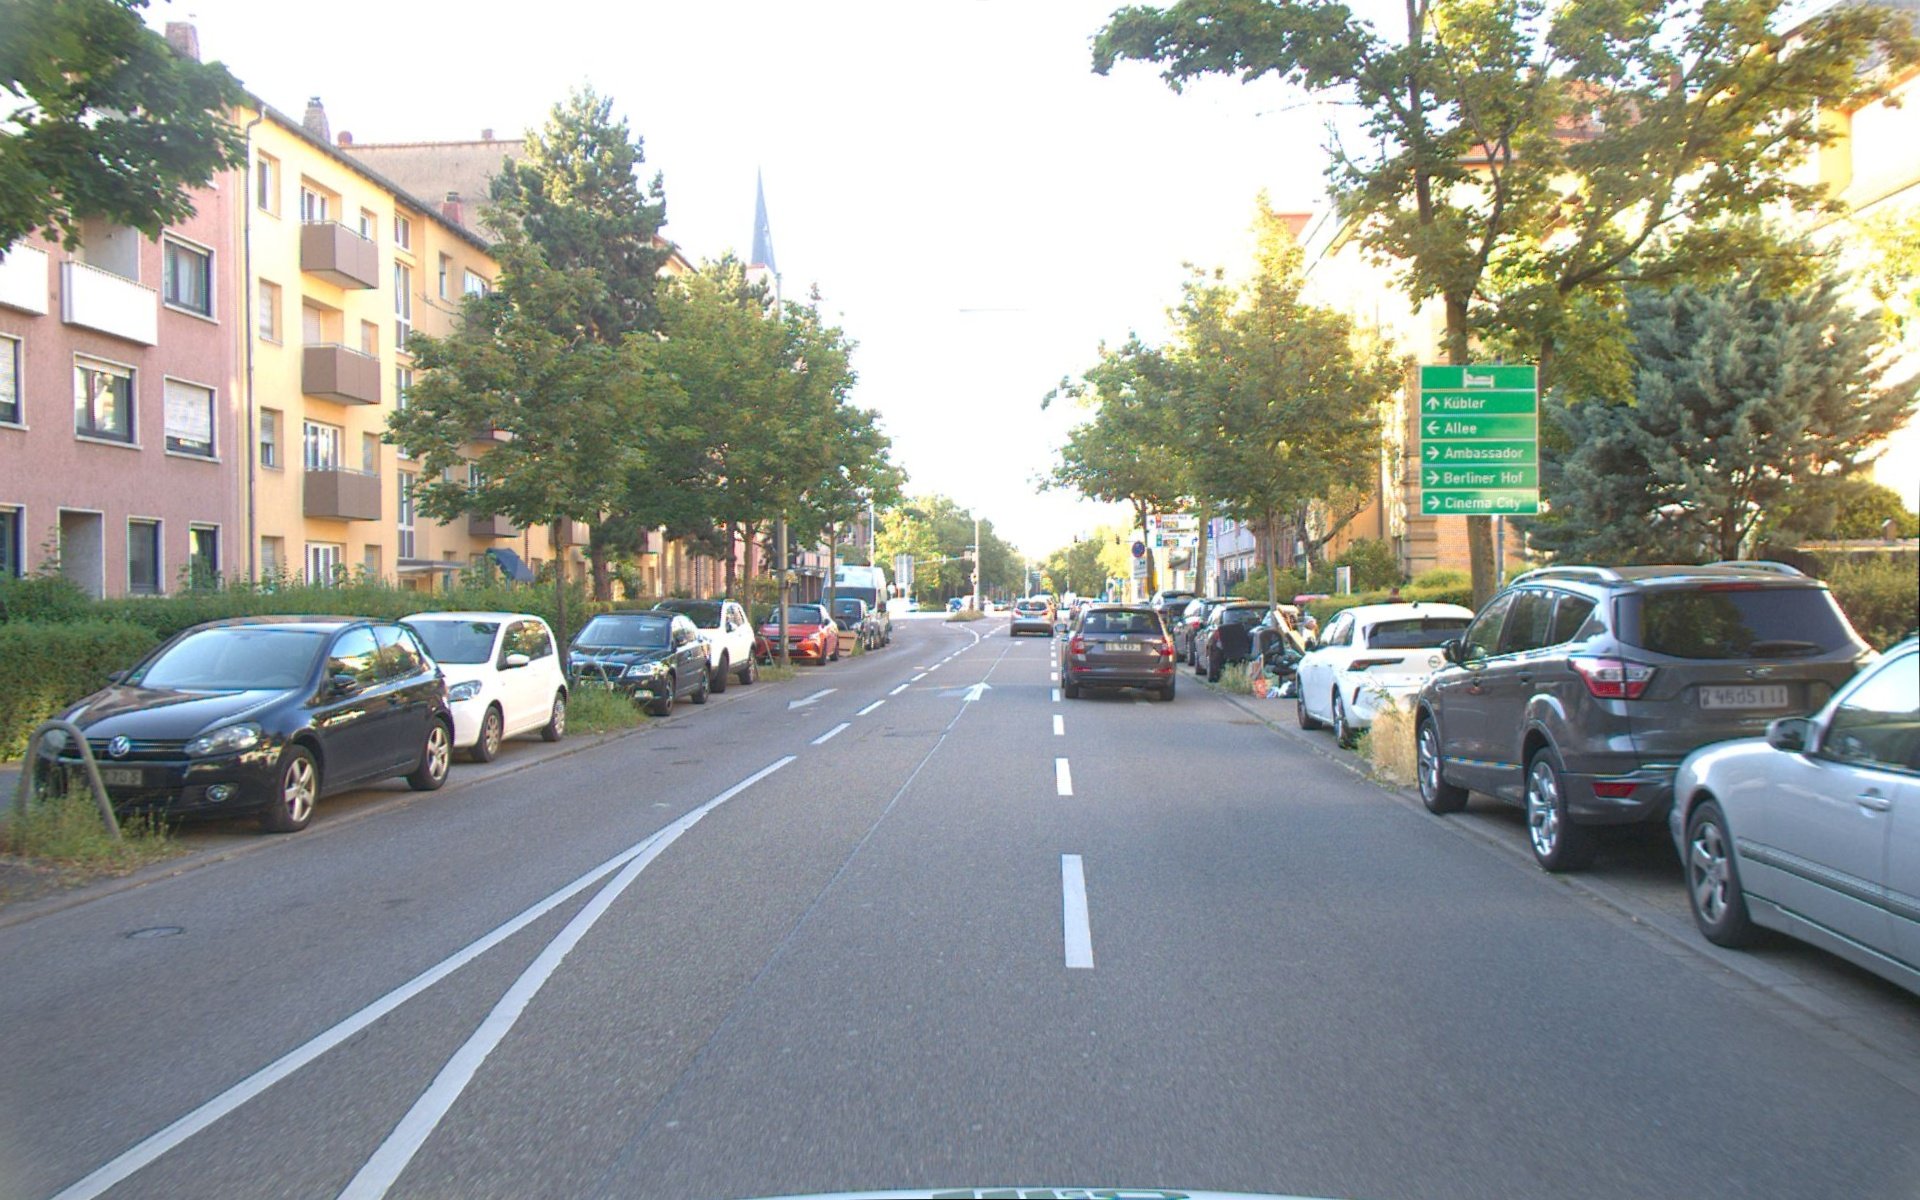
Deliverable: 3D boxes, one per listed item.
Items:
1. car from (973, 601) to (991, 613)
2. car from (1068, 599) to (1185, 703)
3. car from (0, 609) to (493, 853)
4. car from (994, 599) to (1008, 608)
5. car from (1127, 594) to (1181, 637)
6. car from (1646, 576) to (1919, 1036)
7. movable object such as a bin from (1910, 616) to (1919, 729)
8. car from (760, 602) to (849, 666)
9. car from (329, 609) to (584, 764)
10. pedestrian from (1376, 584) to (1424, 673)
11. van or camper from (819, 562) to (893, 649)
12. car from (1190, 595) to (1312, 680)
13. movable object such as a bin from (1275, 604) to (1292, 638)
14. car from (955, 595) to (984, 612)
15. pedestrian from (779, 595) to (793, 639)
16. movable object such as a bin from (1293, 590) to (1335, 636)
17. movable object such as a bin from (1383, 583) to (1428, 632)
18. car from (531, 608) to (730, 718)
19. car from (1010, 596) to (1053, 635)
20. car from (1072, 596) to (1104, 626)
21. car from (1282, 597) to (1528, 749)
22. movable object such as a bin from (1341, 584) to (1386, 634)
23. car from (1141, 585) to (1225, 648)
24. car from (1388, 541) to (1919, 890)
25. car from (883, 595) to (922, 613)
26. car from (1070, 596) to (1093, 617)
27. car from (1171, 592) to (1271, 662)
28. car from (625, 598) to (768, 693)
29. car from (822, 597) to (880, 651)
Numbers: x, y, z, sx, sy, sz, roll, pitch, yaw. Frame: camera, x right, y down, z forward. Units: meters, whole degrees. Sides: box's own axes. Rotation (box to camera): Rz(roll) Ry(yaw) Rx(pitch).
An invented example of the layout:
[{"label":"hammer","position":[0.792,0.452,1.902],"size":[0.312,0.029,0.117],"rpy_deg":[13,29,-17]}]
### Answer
[{"label":"car","position":[2.467,0.742,184.990],"size":[1.742,1.258,4.002],"rpy_deg":[-1,0,4]},{"label":"car","position":[2.561,0.743,26.231],"size":[1.672,1.482,4.160],"rpy_deg":[0,0,3]},{"label":"car","position":[-5.301,0.864,12.984],"size":[1.799,1.544,4.318],"rpy_deg":[0,0,4]},{"label":"car","position":[5.859,0.549,236.366],"size":[1.742,1.258,4.002],"rpy_deg":[-1,0,4]},{"label":"car","position":[7.428,0.563,63.569],"size":[1.817,1.539,4.837],"rpy_deg":[-2,0,5]},{"label":"car","position":[4.074,0.673,5.687],"size":[1.747,1.530,4.833],"rpy_deg":[-1,0,5]},{"label":"movable object such as a bin","position":[9.479,0.667,15.492],"size":[0.710,1.076,0.684],"rpy_deg":[-4,0,2]},{"label":"car","position":[-3.865,0.813,41.548],"size":[1.681,1.477,3.924],"rpy_deg":[0,0,3]},{"label":"car","position":[-5.382,0.868,18.130],"size":[1.558,1.518,3.643],"rpy_deg":[0,-1,2]},{"label":"pedestrian","position":[8.296,0.526,31.205],"size":[0.730,1.644,0.580],"rpy_deg":[-1,0,1]},{"label":"van or camper","position":[-3.432,0.174,55.682],"size":[1.994,2.710,6.016],"rpy_deg":[1,0,0]},{"label":"car","position":[5.530,0.670,31.956],"size":[1.733,1.474,4.486],"rpy_deg":[-2,0,3]},{"label":"movable object such as a bin","position":[10.603,0.692,54.210],"size":[0.483,1.077,0.548],"rpy_deg":[-1,0,15]},{"label":"car","position":[0.895,0.320,153.811],"size":[1.596,1.521,3.327],"rpy_deg":[-1,0,-20]},{"label":"pedestrian","position":[-6.692,0.652,63.658],"size":[0.470,1.681,0.725],"rpy_deg":[-1,0,-3]},{"label":"movable object such as a bin","position":[11.611,0.430,54.254],"size":[1.226,1.467,0.995],"rpy_deg":[-1,0,17]},{"label":"movable object such as a bin","position":[14.515,0.238,53.915],"size":[1.133,1.583,0.993],"rpy_deg":[-1,0,-7]},{"label":"car","position":[-4.927,0.893,25.388],"size":[1.952,1.473,4.460],"rpy_deg":[-1,0,2]},{"label":"car","position":[2.948,0.603,67.392],"size":[1.672,1.536,4.311],"rpy_deg":[0,0,3]},{"label":"car","position":[6.858,0.572,88.689],"size":[1.616,1.510,4.241],"rpy_deg":[0,0,3]},{"label":"car","position":[4.756,0.711,18.290],"size":[1.725,1.426,4.335],"rpy_deg":[-2,0,3]},{"label":"movable object such as a bin","position":[13.211,0.282,54.156],"size":[1.133,1.583,0.993],"rpy_deg":[-1,0,-7]},{"label":"car","position":[6.327,0.441,47.333],"size":[1.907,1.684,4.797],"rpy_deg":[-1,0,2]},{"label":"car","position":[4.319,0.580,10.804],"size":[1.877,1.711,4.708],"rpy_deg":[-2,0,2]},{"label":"car","position":[-5.669,0.374,162.154],"size":[1.978,1.699,3.949],"rpy_deg":[-1,0,-36]},{"label":"car","position":[8.632,0.431,118.064],"size":[1.551,1.472,3.649],"rpy_deg":[1,0,3]},{"label":"car","position":[6.038,0.590,38.747],"size":[1.681,1.498,4.432],"rpy_deg":[-2,0,1]},{"label":"car","position":[-4.751,0.779,30.383],"size":[1.739,1.616,4.187],"rpy_deg":[0,0,3]},{"label":"car","position":[-3.319,0.710,50.720],"size":[1.374,1.575,2.763],"rpy_deg":[1,0,4]}]
